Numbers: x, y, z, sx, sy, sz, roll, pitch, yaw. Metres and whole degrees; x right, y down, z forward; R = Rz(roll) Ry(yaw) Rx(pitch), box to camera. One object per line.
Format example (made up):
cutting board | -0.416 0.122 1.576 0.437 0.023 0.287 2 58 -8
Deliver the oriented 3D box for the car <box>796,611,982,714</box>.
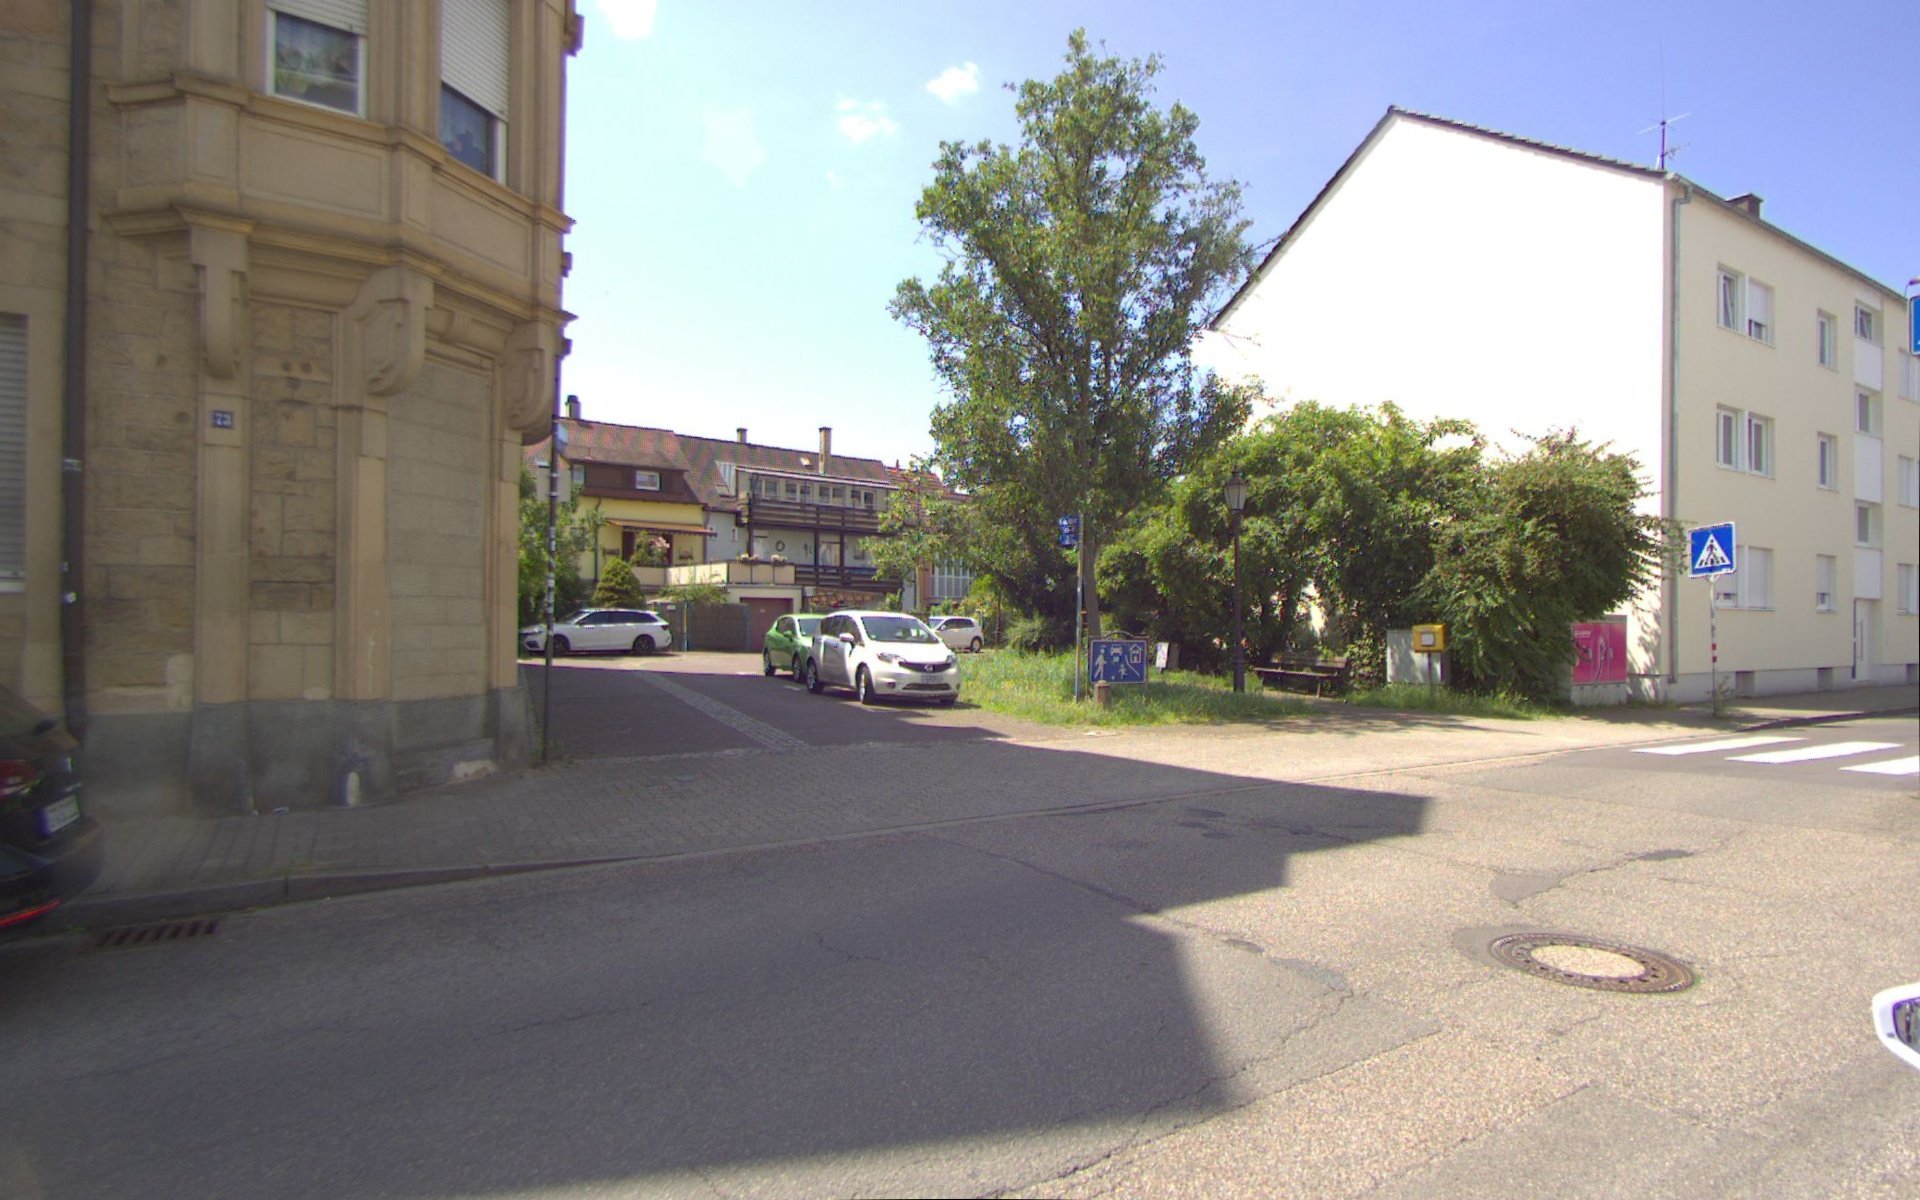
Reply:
car | -1.373 0.991 17.613 1.845 1.522 3.972 1 0 -27

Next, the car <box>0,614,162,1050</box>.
car | -5.521 0.757 3.067 4.582 1.477 1.774 1 -2 -31

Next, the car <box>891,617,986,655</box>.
car | -0.824 1.431 40.730 1.439 1.439 3.976 2 1 44

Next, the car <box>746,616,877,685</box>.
car | -3.453 1.094 22.815 1.780 1.416 3.972 1 -2 -27

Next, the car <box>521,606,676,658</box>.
car | -11.247 0.987 31.357 4.249 1.474 1.653 1 1 -39
